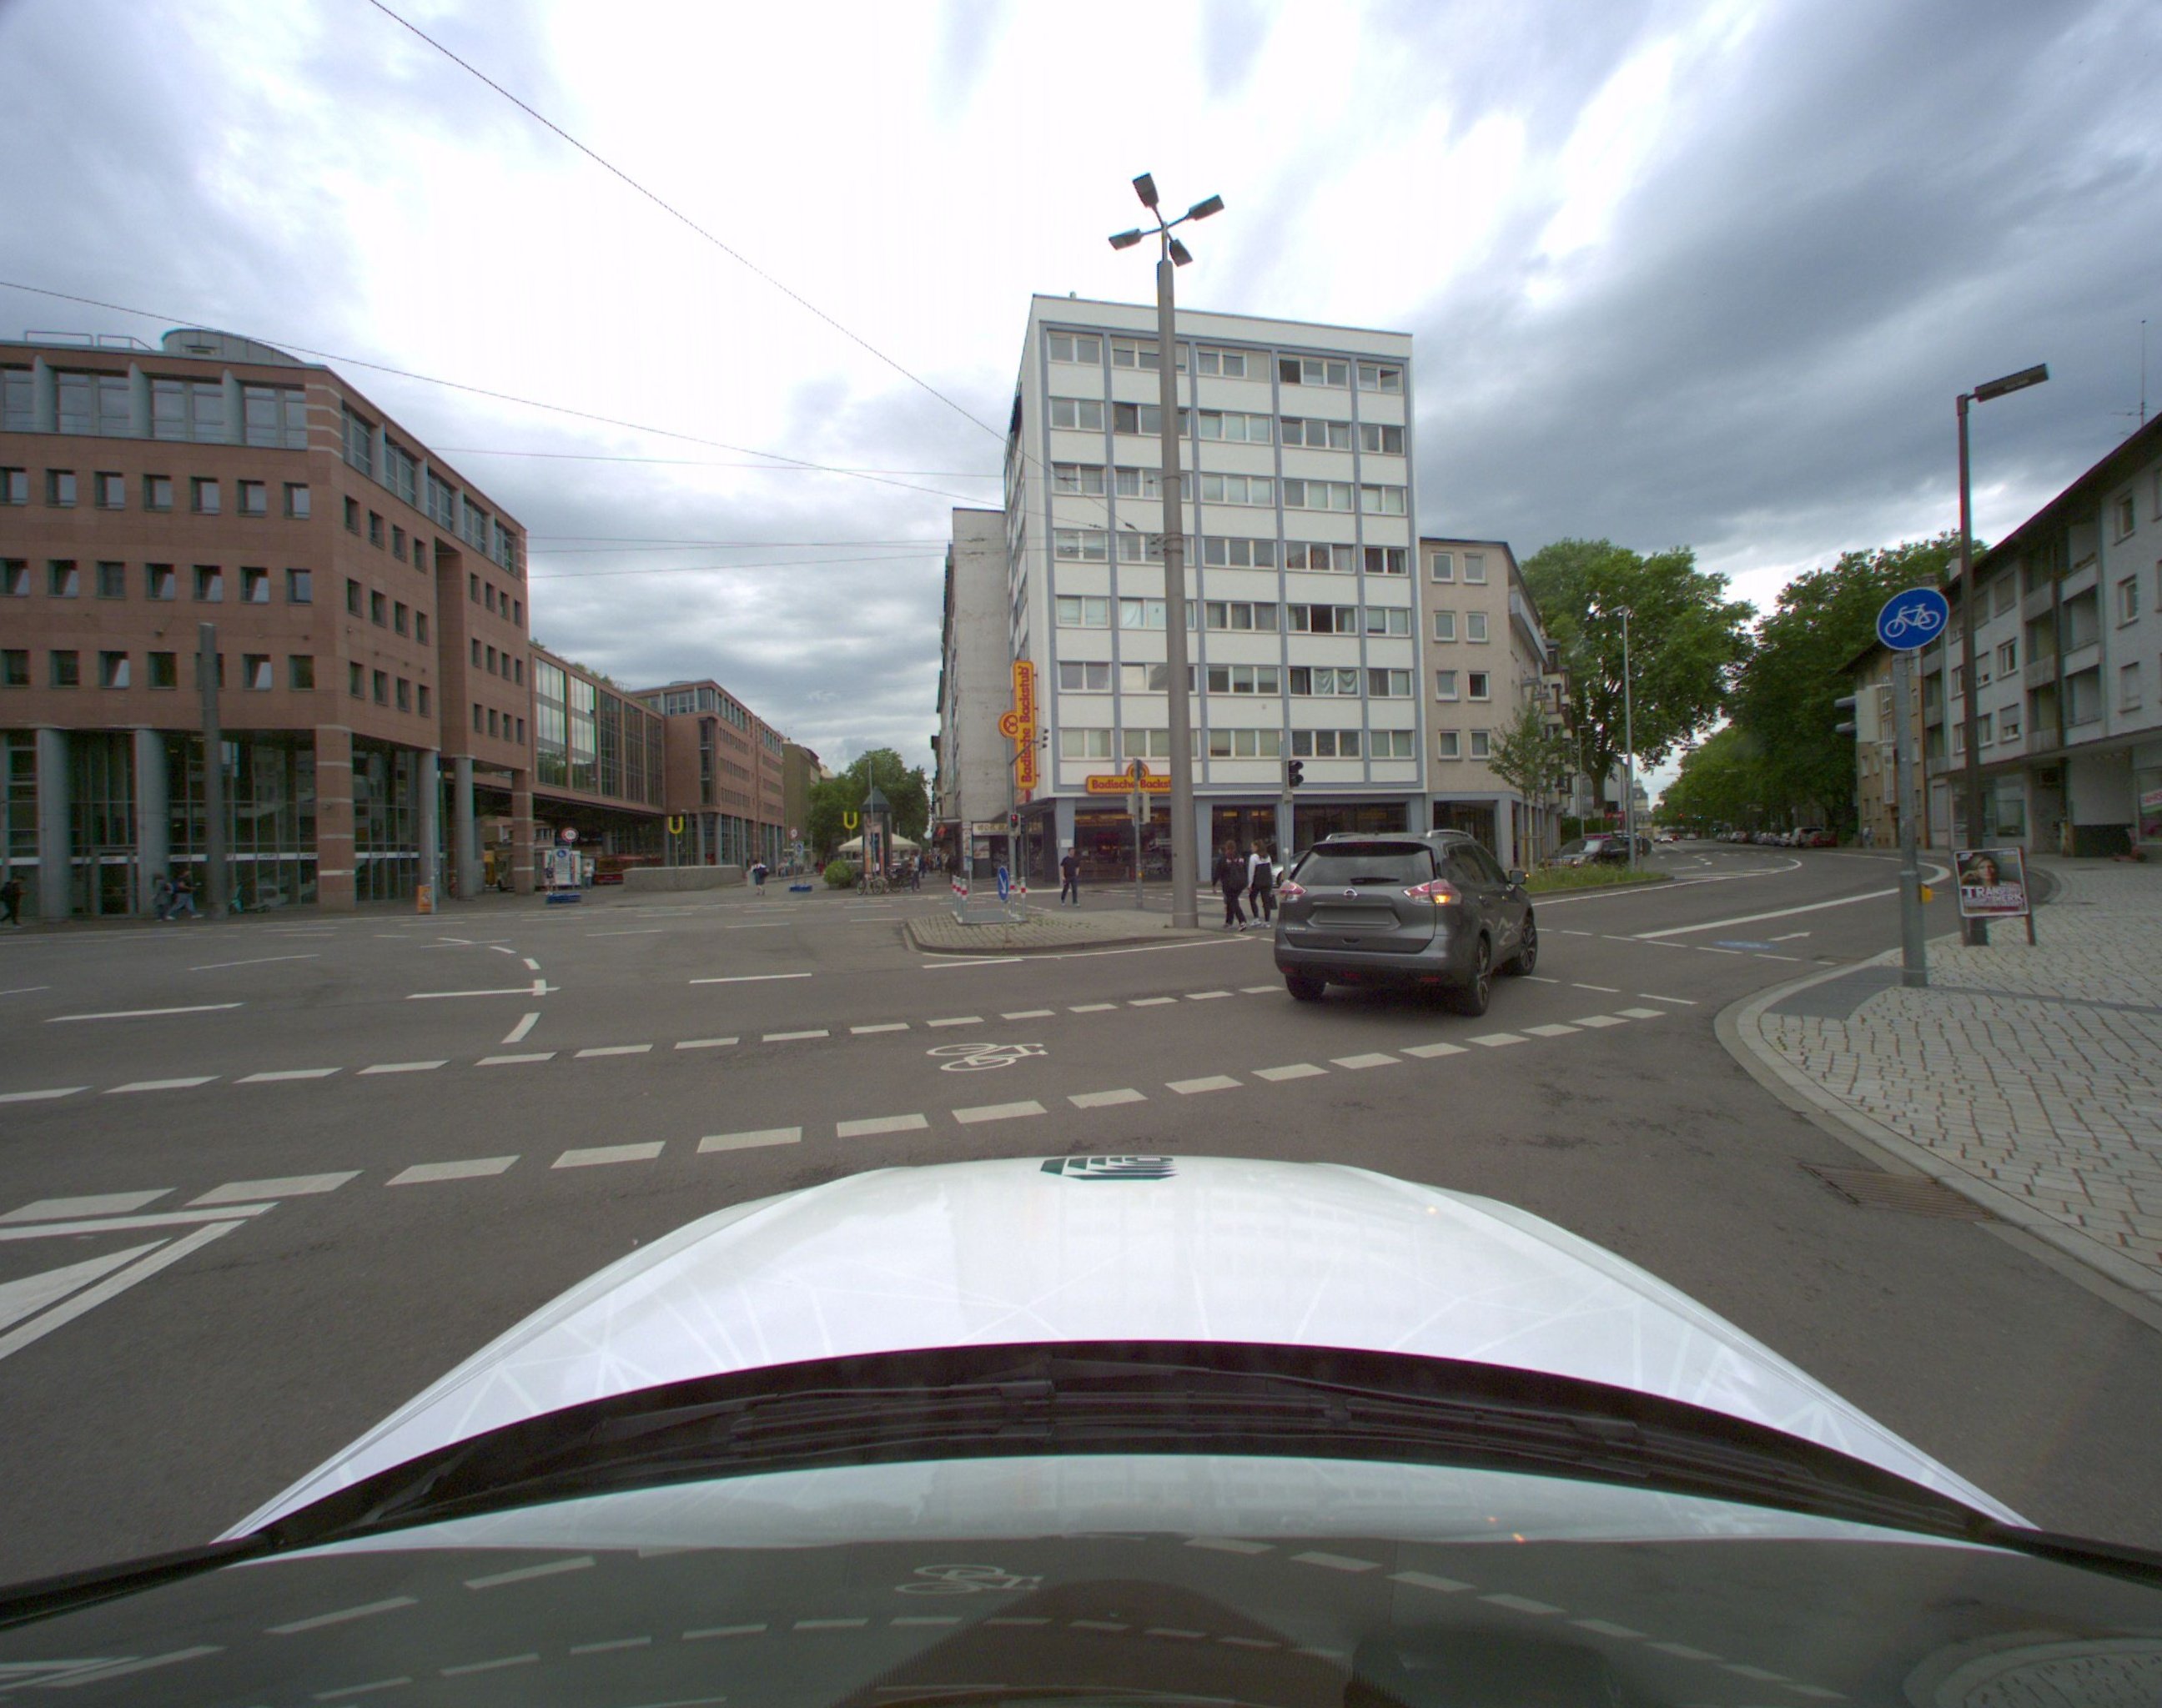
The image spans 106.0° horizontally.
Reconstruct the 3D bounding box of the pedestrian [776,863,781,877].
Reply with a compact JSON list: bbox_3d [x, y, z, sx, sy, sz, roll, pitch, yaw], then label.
[{"bbox_3d":[-39.469,2.068,106.324,0.602,1.714,0.651,-1,0,-18],"label":"pedestrian"}]

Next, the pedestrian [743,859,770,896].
[{"bbox_3d":[-15.368,1.108,38.567,0.920,1.705,0.736,-1,0,9],"label":"pedestrian"}]

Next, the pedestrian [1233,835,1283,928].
[{"bbox_3d":[3.418,0.517,15.779,0.623,1.761,0.775,-1,0,-18],"label":"pedestrian"}]

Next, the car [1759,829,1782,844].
[{"bbox_3d":[83.858,-2.147,99.025,1.845,1.774,4.009,0,1,36],"label":"car"}]

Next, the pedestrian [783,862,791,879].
[{"bbox_3d":[-26.699,1.474,73.897,0.602,1.536,0.651,-1,0,-18],"label":"pedestrian"}]

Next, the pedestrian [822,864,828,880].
[{"bbox_3d":[-28.867,2.026,91.803,0.602,1.714,0.651,-1,0,-18],"label":"pedestrian"}]

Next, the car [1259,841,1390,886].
[{"bbox_3d":[9.322,0.349,31.287,4.557,1.481,1.740,-2,0,-14],"label":"car"}]

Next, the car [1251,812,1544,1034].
[{"bbox_3d":[3.704,0.530,8.927,1.845,1.774,4.596,0,0,36],"label":"car"}]

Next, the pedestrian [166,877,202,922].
[{"bbox_3d":[-32.201,1.618,29.248,0.747,1.560,0.568,0,-2,-37],"label":"pedestrian"}]

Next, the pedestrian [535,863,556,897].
[{"bbox_3d":[-29.655,1.445,45.106,0.699,1.842,0.733,-1,0,-5],"label":"pedestrian"}]

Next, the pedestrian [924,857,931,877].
[{"bbox_3d":[-13.520,1.145,71.639,0.611,1.705,0.617,-1,0,-10],"label":"pedestrian"}]

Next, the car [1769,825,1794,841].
[{"bbox_3d":[81.096,-2.443,94.316,1.845,1.774,4.009,0,1,36],"label":"car"}]

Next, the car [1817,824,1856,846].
[{"bbox_3d":[61.822,-1.584,66.693,1.845,1.774,4.009,0,1,36],"label":"car"}]

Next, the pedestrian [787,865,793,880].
[{"bbox_3d":[-33.374,2.089,93.535,0.602,1.714,0.651,-1,0,-18],"label":"pedestrian"}]

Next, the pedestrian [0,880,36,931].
[{"bbox_3d":[-35.510,1.708,27.104,0.747,1.688,0.568,0,-2,-37],"label":"pedestrian"}]

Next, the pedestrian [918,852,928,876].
[{"bbox_3d":[-11.441,0.716,58.900,0.643,1.705,0.557,-1,0,-10],"label":"pedestrian"}]

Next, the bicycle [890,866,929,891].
[{"bbox_3d":[-7.735,1.102,36.758,1.693,1.065,0.436,-1,0,-5],"label":"bicycle"}]

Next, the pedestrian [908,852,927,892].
[{"bbox_3d":[-7.313,0.785,36.453,0.734,1.746,0.659,-1,0,-19],"label":"pedestrian"}]

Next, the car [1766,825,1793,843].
[{"bbox_3d":[73.824,-2.135,86.086,1.845,1.774,4.009,0,1,36],"label":"car"}]

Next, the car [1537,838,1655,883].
[{"bbox_3d":[19.231,0.228,30.376,4.580,1.481,1.732,-2,0,-30],"label":"car"}]

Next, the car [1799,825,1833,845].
[{"bbox_3d":[66.146,-1.716,73.309,1.845,1.774,4.009,0,1,36],"label":"car"}]

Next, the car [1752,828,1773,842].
[{"bbox_3d":[91.245,-2.560,109.072,1.845,1.774,4.009,0,1,36],"label":"car"}]

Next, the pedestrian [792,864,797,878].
[{"bbox_3d":[-35.684,2.136,101.387,0.602,1.714,0.651,-1,0,-18],"label":"pedestrian"}]

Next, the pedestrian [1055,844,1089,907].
[{"bbox_3d":[-0.279,0.641,24.498,0.715,1.832,1.010,-1,0,-18],"label":"pedestrian"}]

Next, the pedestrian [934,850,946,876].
[{"bbox_3d":[-10.255,0.664,59.301,0.738,1.821,0.659,-2,0,-13],"label":"pedestrian"}]

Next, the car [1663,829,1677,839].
[{"bbox_3d":[102.369,-3.459,141.488,1.845,1.774,4.009,0,1,36],"label":"car"}]

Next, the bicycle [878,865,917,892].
[{"bbox_3d":[-8.405,1.113,37.274,1.700,1.172,0.435,-1,0,-18],"label":"bicycle"}]

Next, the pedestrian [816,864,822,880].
[{"bbox_3d":[-29.496,2.034,91.594,0.602,1.714,0.651,-1,0,-18],"label":"pedestrian"}]

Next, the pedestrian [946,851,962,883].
[{"bbox_3d":[-6.863,0.714,44.008,0.707,1.705,0.735,-1,0,1],"label":"pedestrian"}]

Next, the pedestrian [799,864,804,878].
[{"bbox_3d":[-35.586,2.152,103.568,0.602,1.714,0.651,-1,0,-18],"label":"pedestrian"}]

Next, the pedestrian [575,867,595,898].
[{"bbox_3d":[-29.853,1.703,49.015,0.696,1.842,0.736,-1,0,9],"label":"pedestrian"}]

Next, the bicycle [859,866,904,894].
[{"bbox_3d":[-8.942,1.158,36.502,1.876,1.172,0.526,-1,0,-25],"label":"bicycle"}]

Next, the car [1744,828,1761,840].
[{"bbox_3d":[100.710,-3.045,122.164,1.845,1.774,4.009,0,1,36],"label":"car"}]

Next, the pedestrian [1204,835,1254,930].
[{"bbox_3d":[2.822,0.527,15.548,0.623,1.761,0.775,-1,0,-18],"label":"pedestrian"}]
